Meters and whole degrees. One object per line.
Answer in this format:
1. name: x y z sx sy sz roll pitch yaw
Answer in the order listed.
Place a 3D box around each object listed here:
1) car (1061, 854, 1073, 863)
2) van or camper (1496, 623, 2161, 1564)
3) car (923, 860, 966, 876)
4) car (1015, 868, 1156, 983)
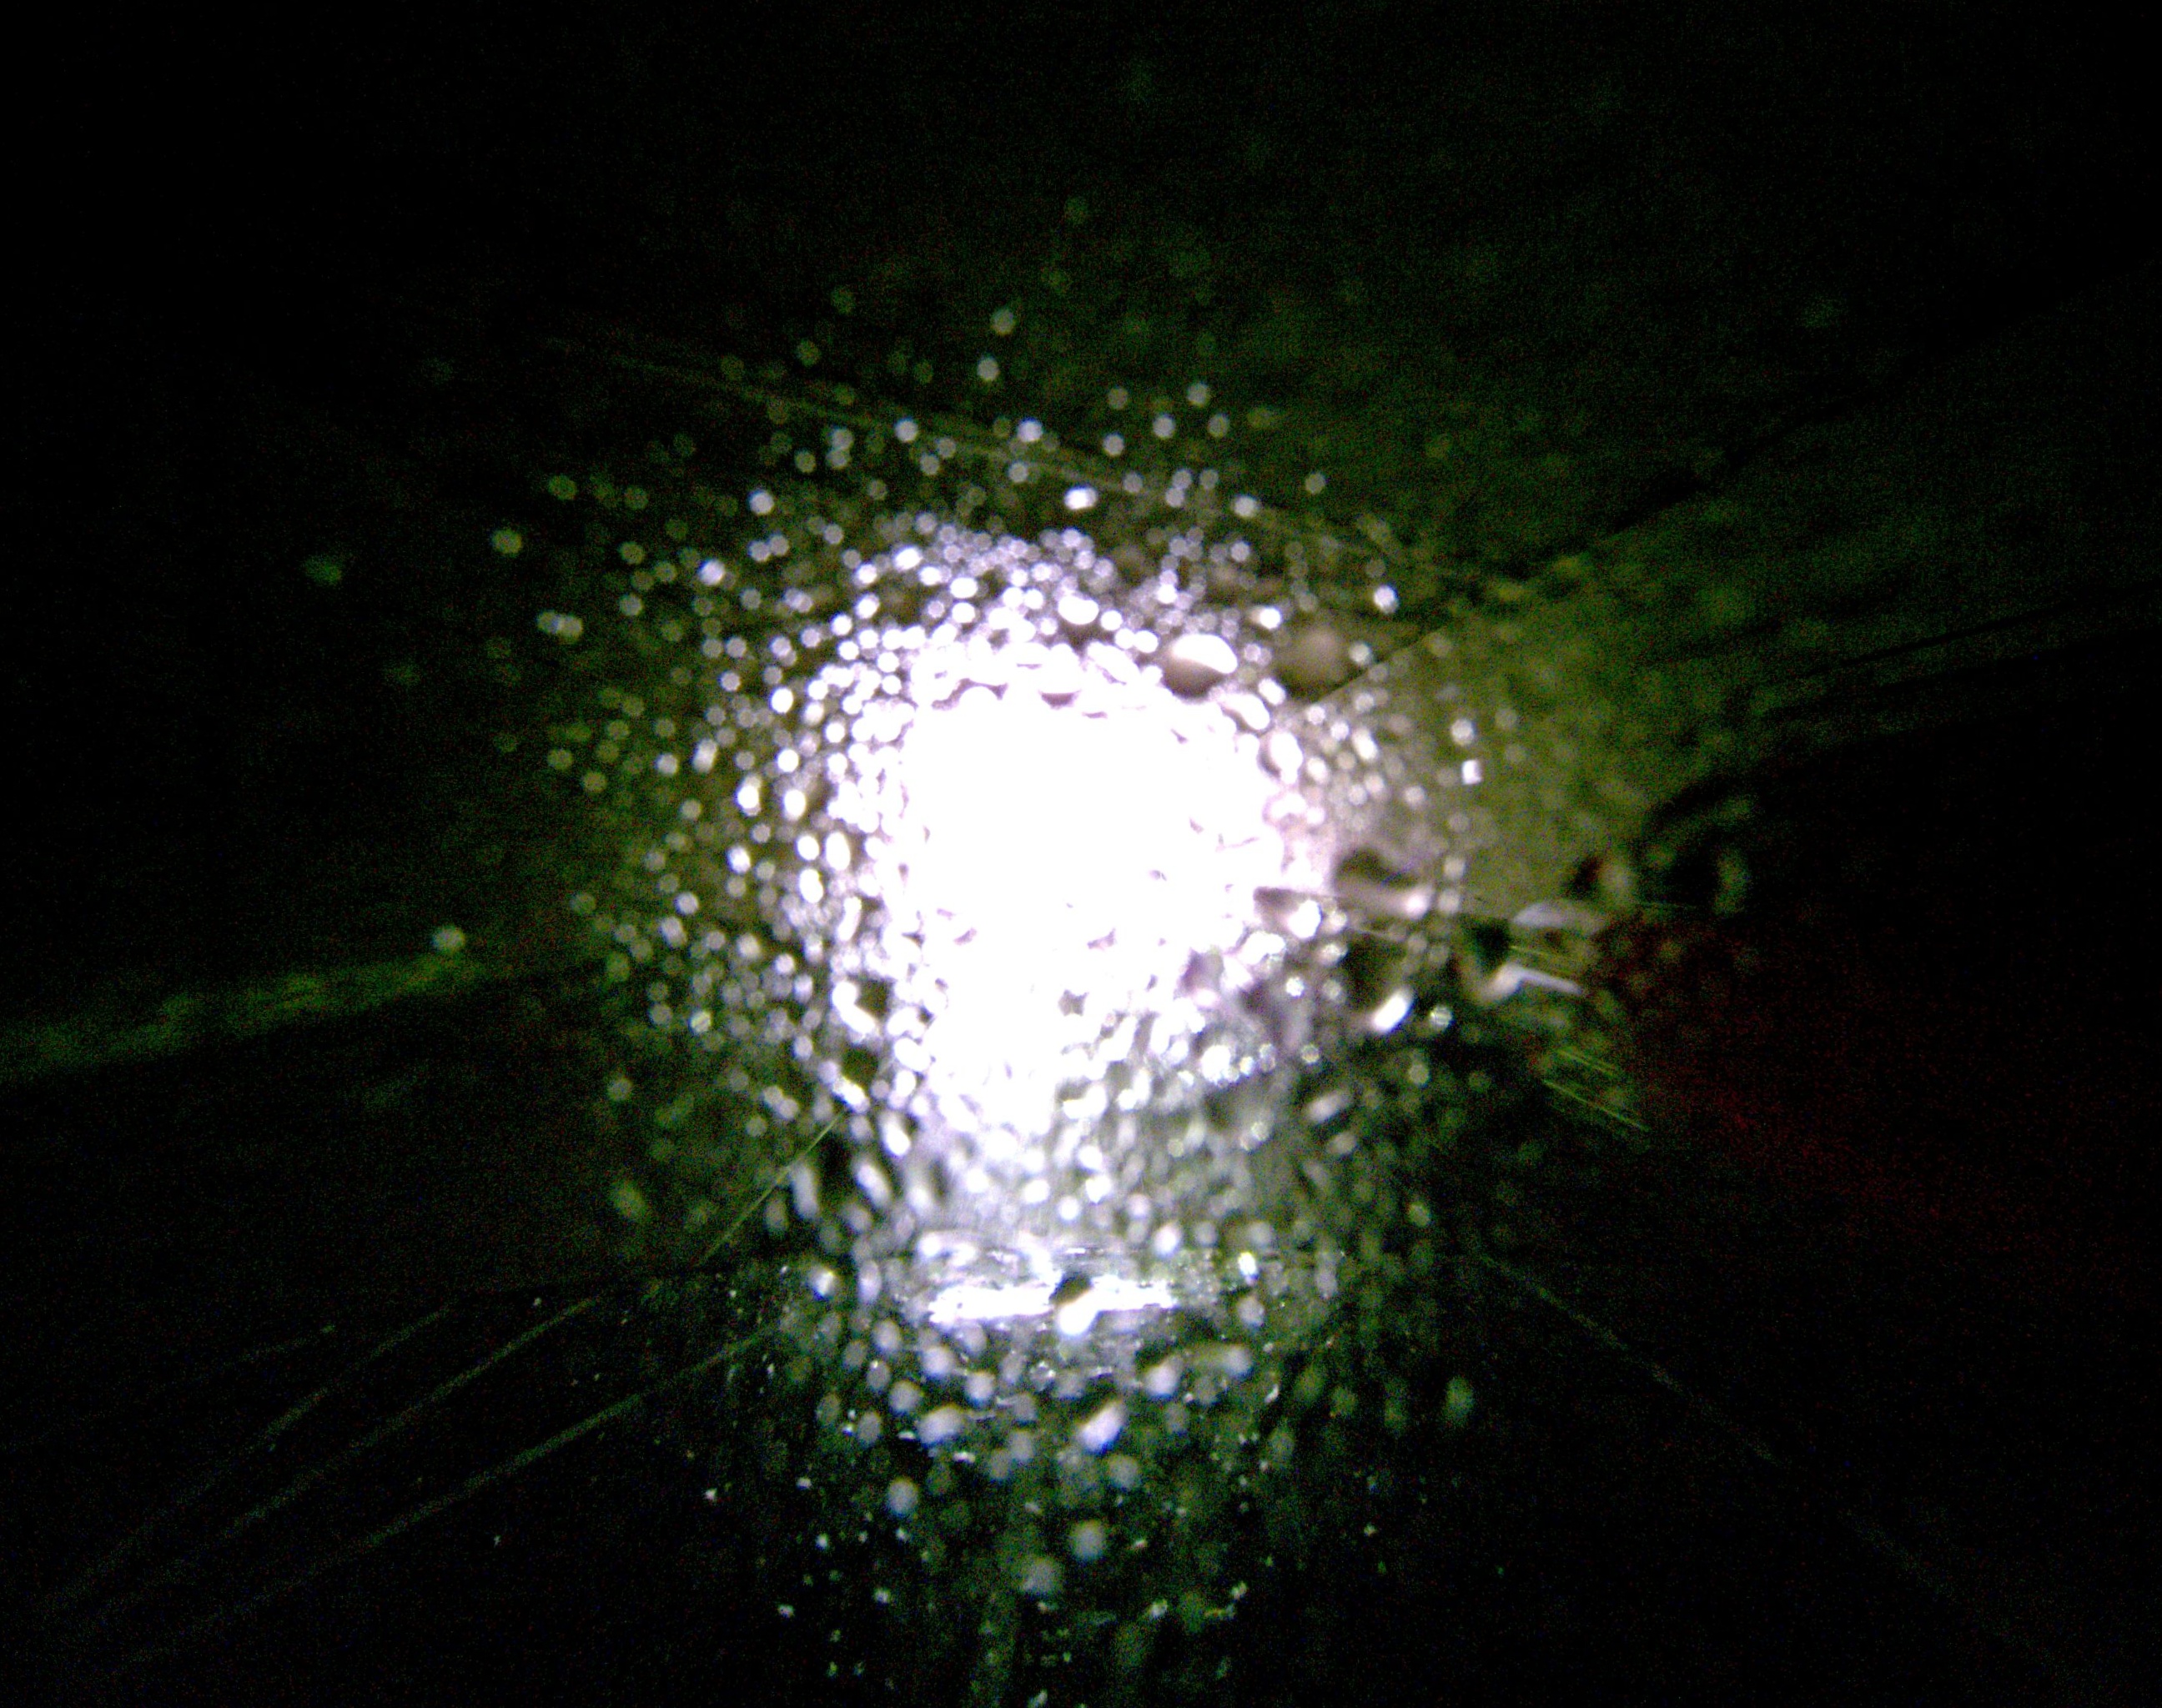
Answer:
1. car: -2.309 0.683 126.336 1.695 1.478 4.071 -1 0 -4
2. van or camper: 3.377 0.500 2.023 1.998 2.086 4.691 -2 0 1
3. car: -14.034 1.420 78.100 3.863 1.523 1.715 -3 1 -34
4. car: -0.009 0.972 12.119 1.767 1.316 4.548 -2 0 -2
